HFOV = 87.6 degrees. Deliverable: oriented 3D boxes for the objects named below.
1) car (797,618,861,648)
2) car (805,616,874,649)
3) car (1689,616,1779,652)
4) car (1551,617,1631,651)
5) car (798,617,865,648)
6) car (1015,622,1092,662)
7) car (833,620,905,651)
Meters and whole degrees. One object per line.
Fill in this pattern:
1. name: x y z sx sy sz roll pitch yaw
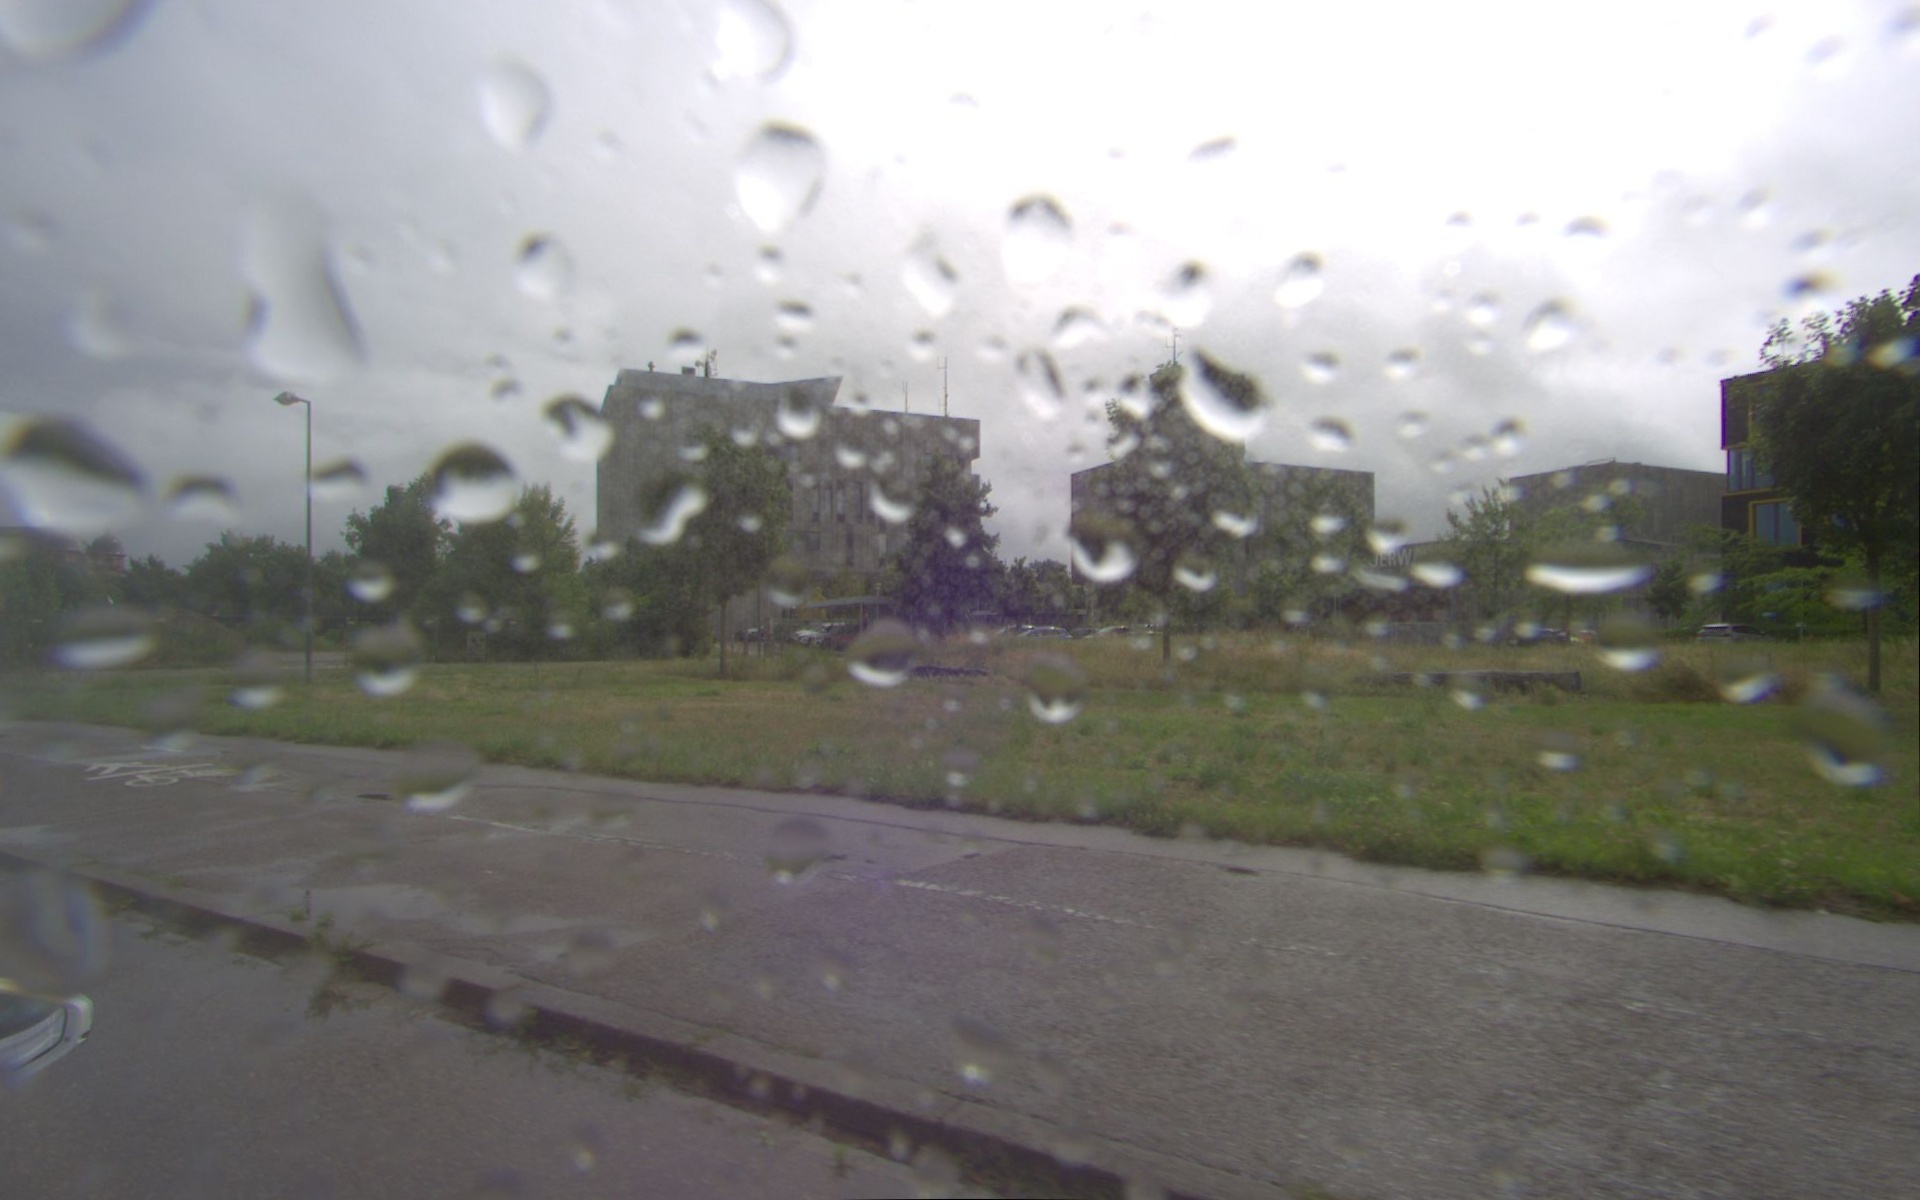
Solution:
1. car: -9.727 2.441 74.363 4.315 2.003 1.996 4 -2 -20
2. car: -8.297 2.235 68.849 4.315 1.981 1.996 4 -2 -20
3. car: 38.754 1.695 50.140 3.932 1.743 1.765 1 -1 -20
4. car: 34.914 1.856 55.407 3.934 1.795 1.802 0 -1 -23
5. car: -9.171 2.317 71.302 4.315 1.996 1.996 4 -2 -20
6. car: 4.954 2.231 53.293 3.641 2.039 1.998 0 -2 -14
7. car: -5.744 2.231 63.191 4.101 1.742 1.815 4 -3 -21
